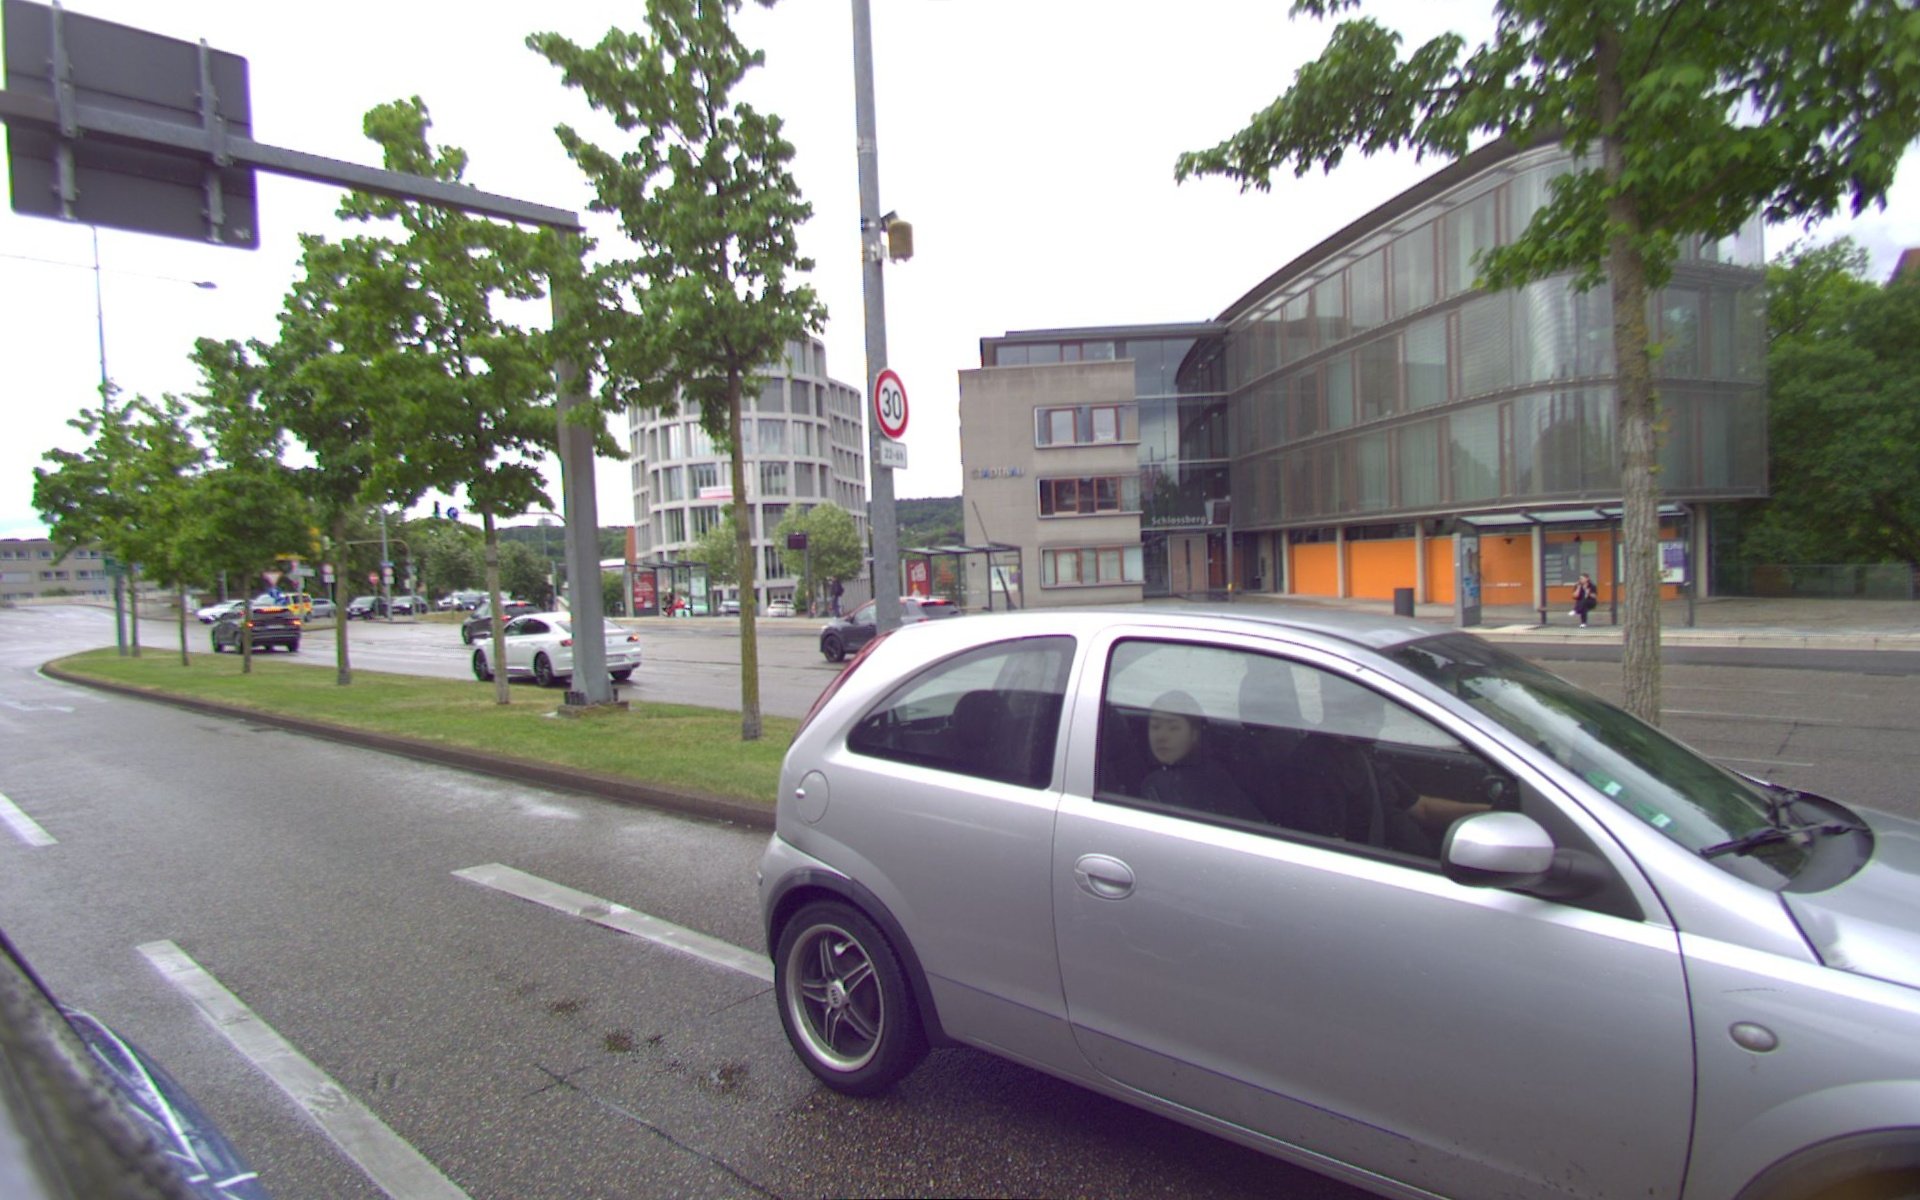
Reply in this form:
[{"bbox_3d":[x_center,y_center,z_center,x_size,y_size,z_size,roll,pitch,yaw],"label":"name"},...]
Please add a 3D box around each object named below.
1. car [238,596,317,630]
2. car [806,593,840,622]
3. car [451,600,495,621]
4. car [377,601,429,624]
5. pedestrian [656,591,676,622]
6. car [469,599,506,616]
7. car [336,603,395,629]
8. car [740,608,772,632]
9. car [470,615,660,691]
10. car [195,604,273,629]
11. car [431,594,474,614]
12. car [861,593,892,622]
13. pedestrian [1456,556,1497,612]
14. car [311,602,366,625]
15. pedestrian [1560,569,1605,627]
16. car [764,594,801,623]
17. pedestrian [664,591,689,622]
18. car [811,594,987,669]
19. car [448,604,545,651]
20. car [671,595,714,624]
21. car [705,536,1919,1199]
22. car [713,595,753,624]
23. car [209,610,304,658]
[{"bbox_3d":[-43.693,0.803,64.962,1.970,2.029,5.067,-1,0,-5],"label":"car"},{"bbox_3d":[-8.565,0.470,63.525,1.849,1.715,4.161,-1,0,-4],"label":"car"},{"bbox_3d":[-40.545,0.876,84.375,1.849,1.646,4.160,-1,0,-3],"label":"car"},{"bbox_3d":[-42.335,0.937,77.040,1.849,1.715,4.160,-1,0,-3],"label":"car"},{"bbox_3d":[-14.676,0.329,50.474,0.722,1.501,0.735,-1,0,-41],"label":"pedestrian"},{"bbox_3d":[-46.674,0.692,100.008,1.849,1.646,4.160,-1,0,-3],"label":"car"},{"bbox_3d":[-40.779,1.091,69.554,1.849,1.715,4.161,-1,0,-4],"label":"car"},{"bbox_3d":[-15.499,1.504,77.022,1.849,1.715,4.161,-1,0,-4],"label":"car"},{"bbox_3d":[-8.197,1.010,20.834,4.164,1.363,1.984,-1,0,42],"label":"car"},{"bbox_3d":[-48.724,1.106,67.975,1.797,1.571,4.027,-1,0,17],"label":"car"},{"bbox_3d":[-44.611,0.346,89.066,1.849,1.646,4.304,-1,0,-3],"label":"car"},{"bbox_3d":[-5.217,0.447,63.421,1.849,1.715,4.161,-1,0,-4],"label":"car"},{"bbox_3d":[16.765,-0.509,32.861,0.772,1.769,0.828,2,-2,-21],"label":"pedestrian"},{"bbox_3d":[-47.708,1.008,77.832,1.849,1.715,4.160,-1,0,-3],"label":"car"},{"bbox_3d":[14.474,-0.047,23.532,0.659,1.309,0.720,-1,0,-44],"label":"pedestrian"},{"bbox_3d":[-11.035,0.510,63.050,1.849,1.714,4.161,-1,0,-4],"label":"car"},{"bbox_3d":[-13.935,0.319,49.765,0.969,1.501,0.735,-1,0,-39],"label":"pedestrian"},{"bbox_3d":[-1.480,0.677,23.482,4.003,1.566,1.859,-1,0,44],"label":"car"},{"bbox_3d":[-16.880,0.952,36.801,4.003,1.566,1.859,0,0,44],"label":"car"},{"bbox_3d":[-16.518,0.597,62.756,1.849,1.715,4.161,-1,0,-4],"label":"car"},{"bbox_3d":[1.161,0.652,2.629,3.717,1.477,1.677,-1,0,40],"label":"car"},{"bbox_3d":[-14.041,0.565,62.828,1.849,1.715,4.161,-1,0,-4],"label":"car"},{"bbox_3d":[-24.987,1.172,35.901,4.165,1.566,1.983,-1,0,44],"label":"car"}]
